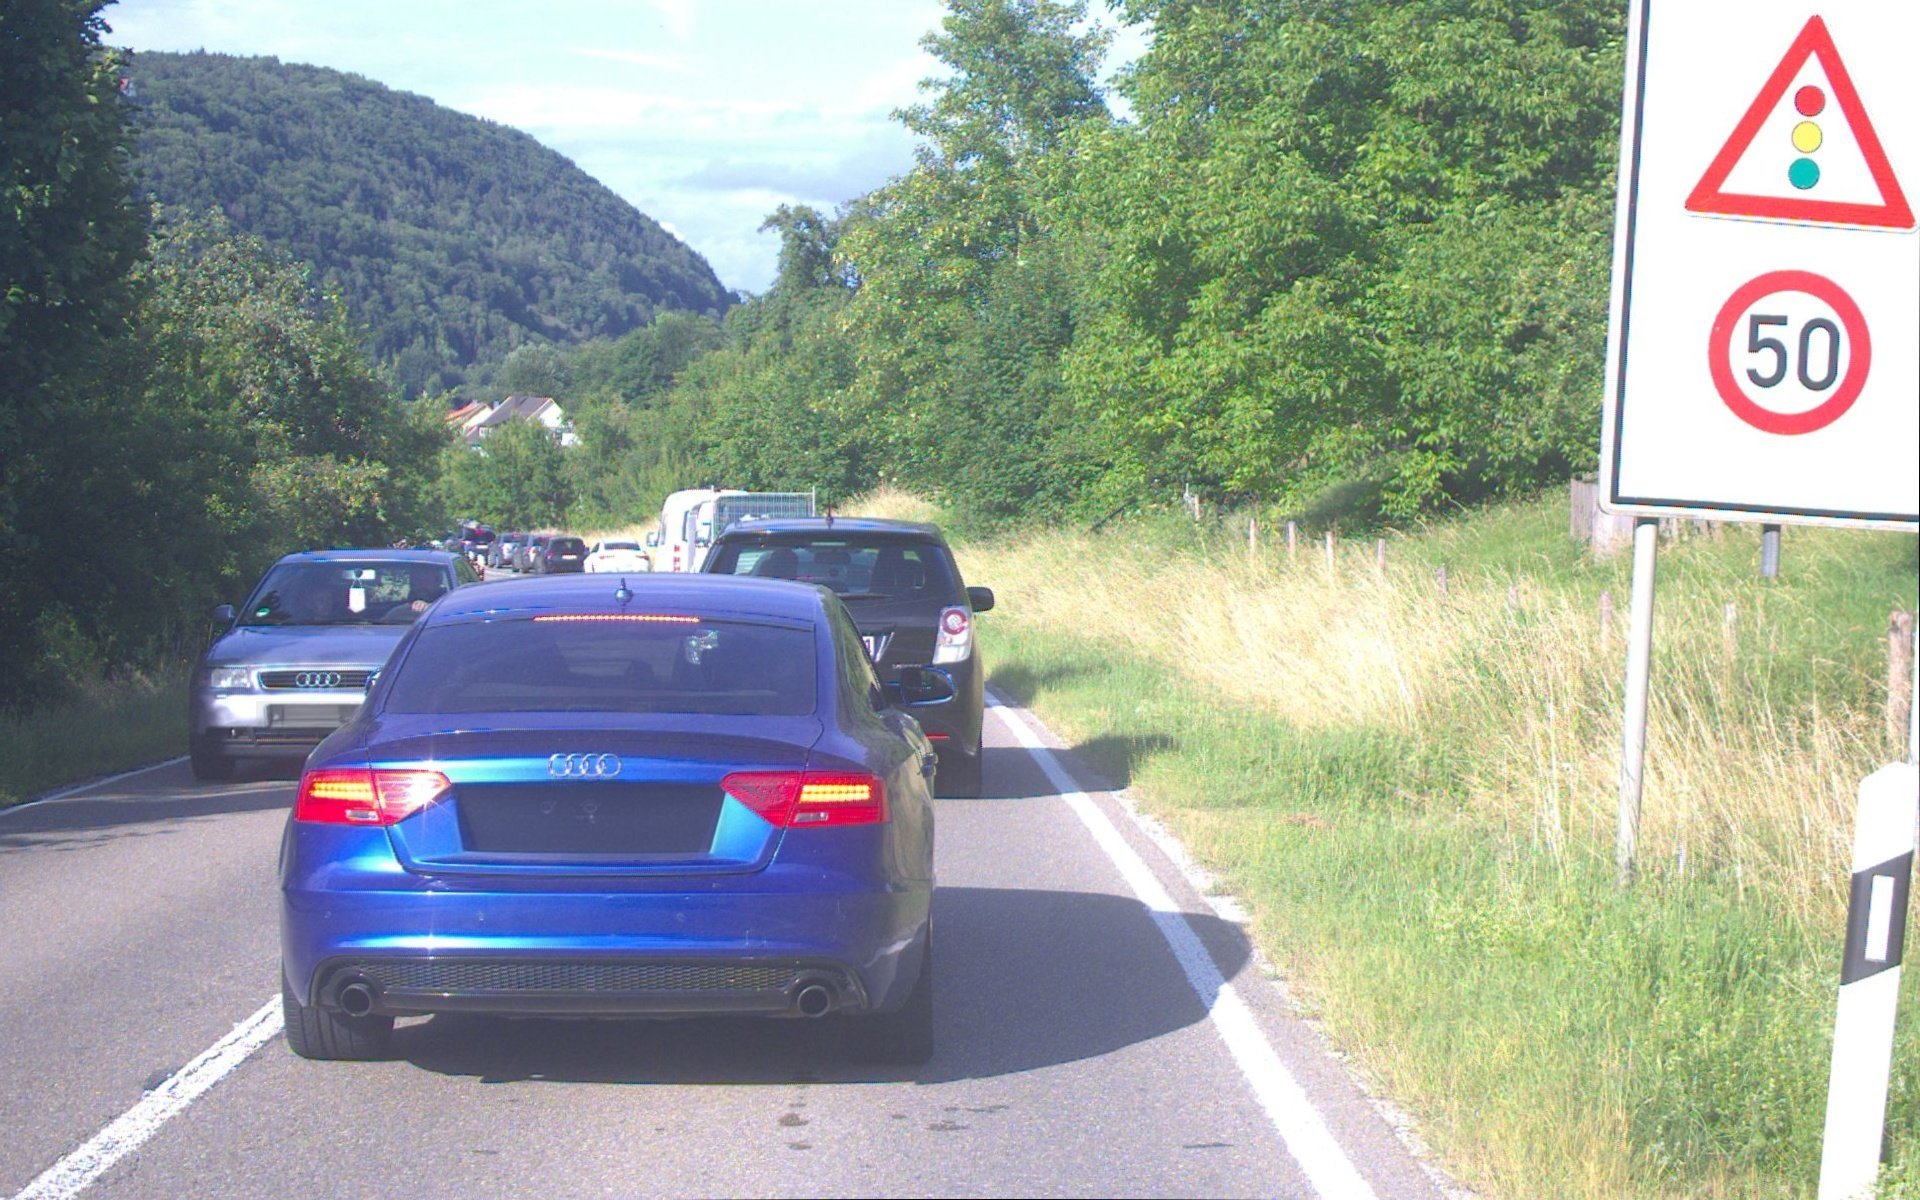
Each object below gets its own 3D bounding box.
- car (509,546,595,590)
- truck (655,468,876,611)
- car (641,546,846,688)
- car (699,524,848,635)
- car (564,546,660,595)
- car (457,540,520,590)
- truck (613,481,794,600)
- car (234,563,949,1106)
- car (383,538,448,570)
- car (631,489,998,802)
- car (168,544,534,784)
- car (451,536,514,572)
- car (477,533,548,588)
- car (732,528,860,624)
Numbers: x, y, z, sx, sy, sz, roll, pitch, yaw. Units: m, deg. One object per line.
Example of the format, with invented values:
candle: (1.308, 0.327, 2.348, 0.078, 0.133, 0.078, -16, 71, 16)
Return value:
car: (-14.306, -1.126, 120.389, 1.993, 1.477, 4.001, 1, 1, -22)
truck: (-4.114, -1.238, 70.152, 2.863, 2.656, 10.396, 1, 1, -12)
car: (-2.220, 0.151, 36.168, 1.993, 1.382, 4.000, 1, 1, -2)
car: (-2.597, -0.299, 48.702, 1.993, 1.477, 4.000, 1, 1, -2)
car: (-11.040, -0.942, 108.780, 1.993, 1.477, 4.001, 1, 1, -22)
car: (-19.261, -1.424, 140.374, 1.993, 2.007, 4.001, 1, 1, -16)
truck: (-6.304, -1.443, 82.829, 2.863, 2.656, 10.648, 1, 1, -12)
car: (-0.957, 0.575, 10.719, 1.793, 1.355, 4.000, 1, 1, -1)
car: (-25.322, -2.142, 159.844, 1.993, 1.477, 4.001, 1, 1, -24)
car: (-0.853, 0.230, 20.891, 1.993, 1.696, 4.000, 1, 1, -2)
car: (-3.796, 0.346, 21.999, 1.692, 1.404, 3.663, 0, 1, 0)
car: (-20.366, -1.943, 146.443, 1.993, 1.477, 4.001, 1, 1, -18)
car: (-16.970, -1.505, 130.200, 1.993, 2.007, 4.001, 1, 1, -17)
car: (-2.638, -0.398, 56.147, 1.993, 1.477, 4.000, 1, 1, -2)
